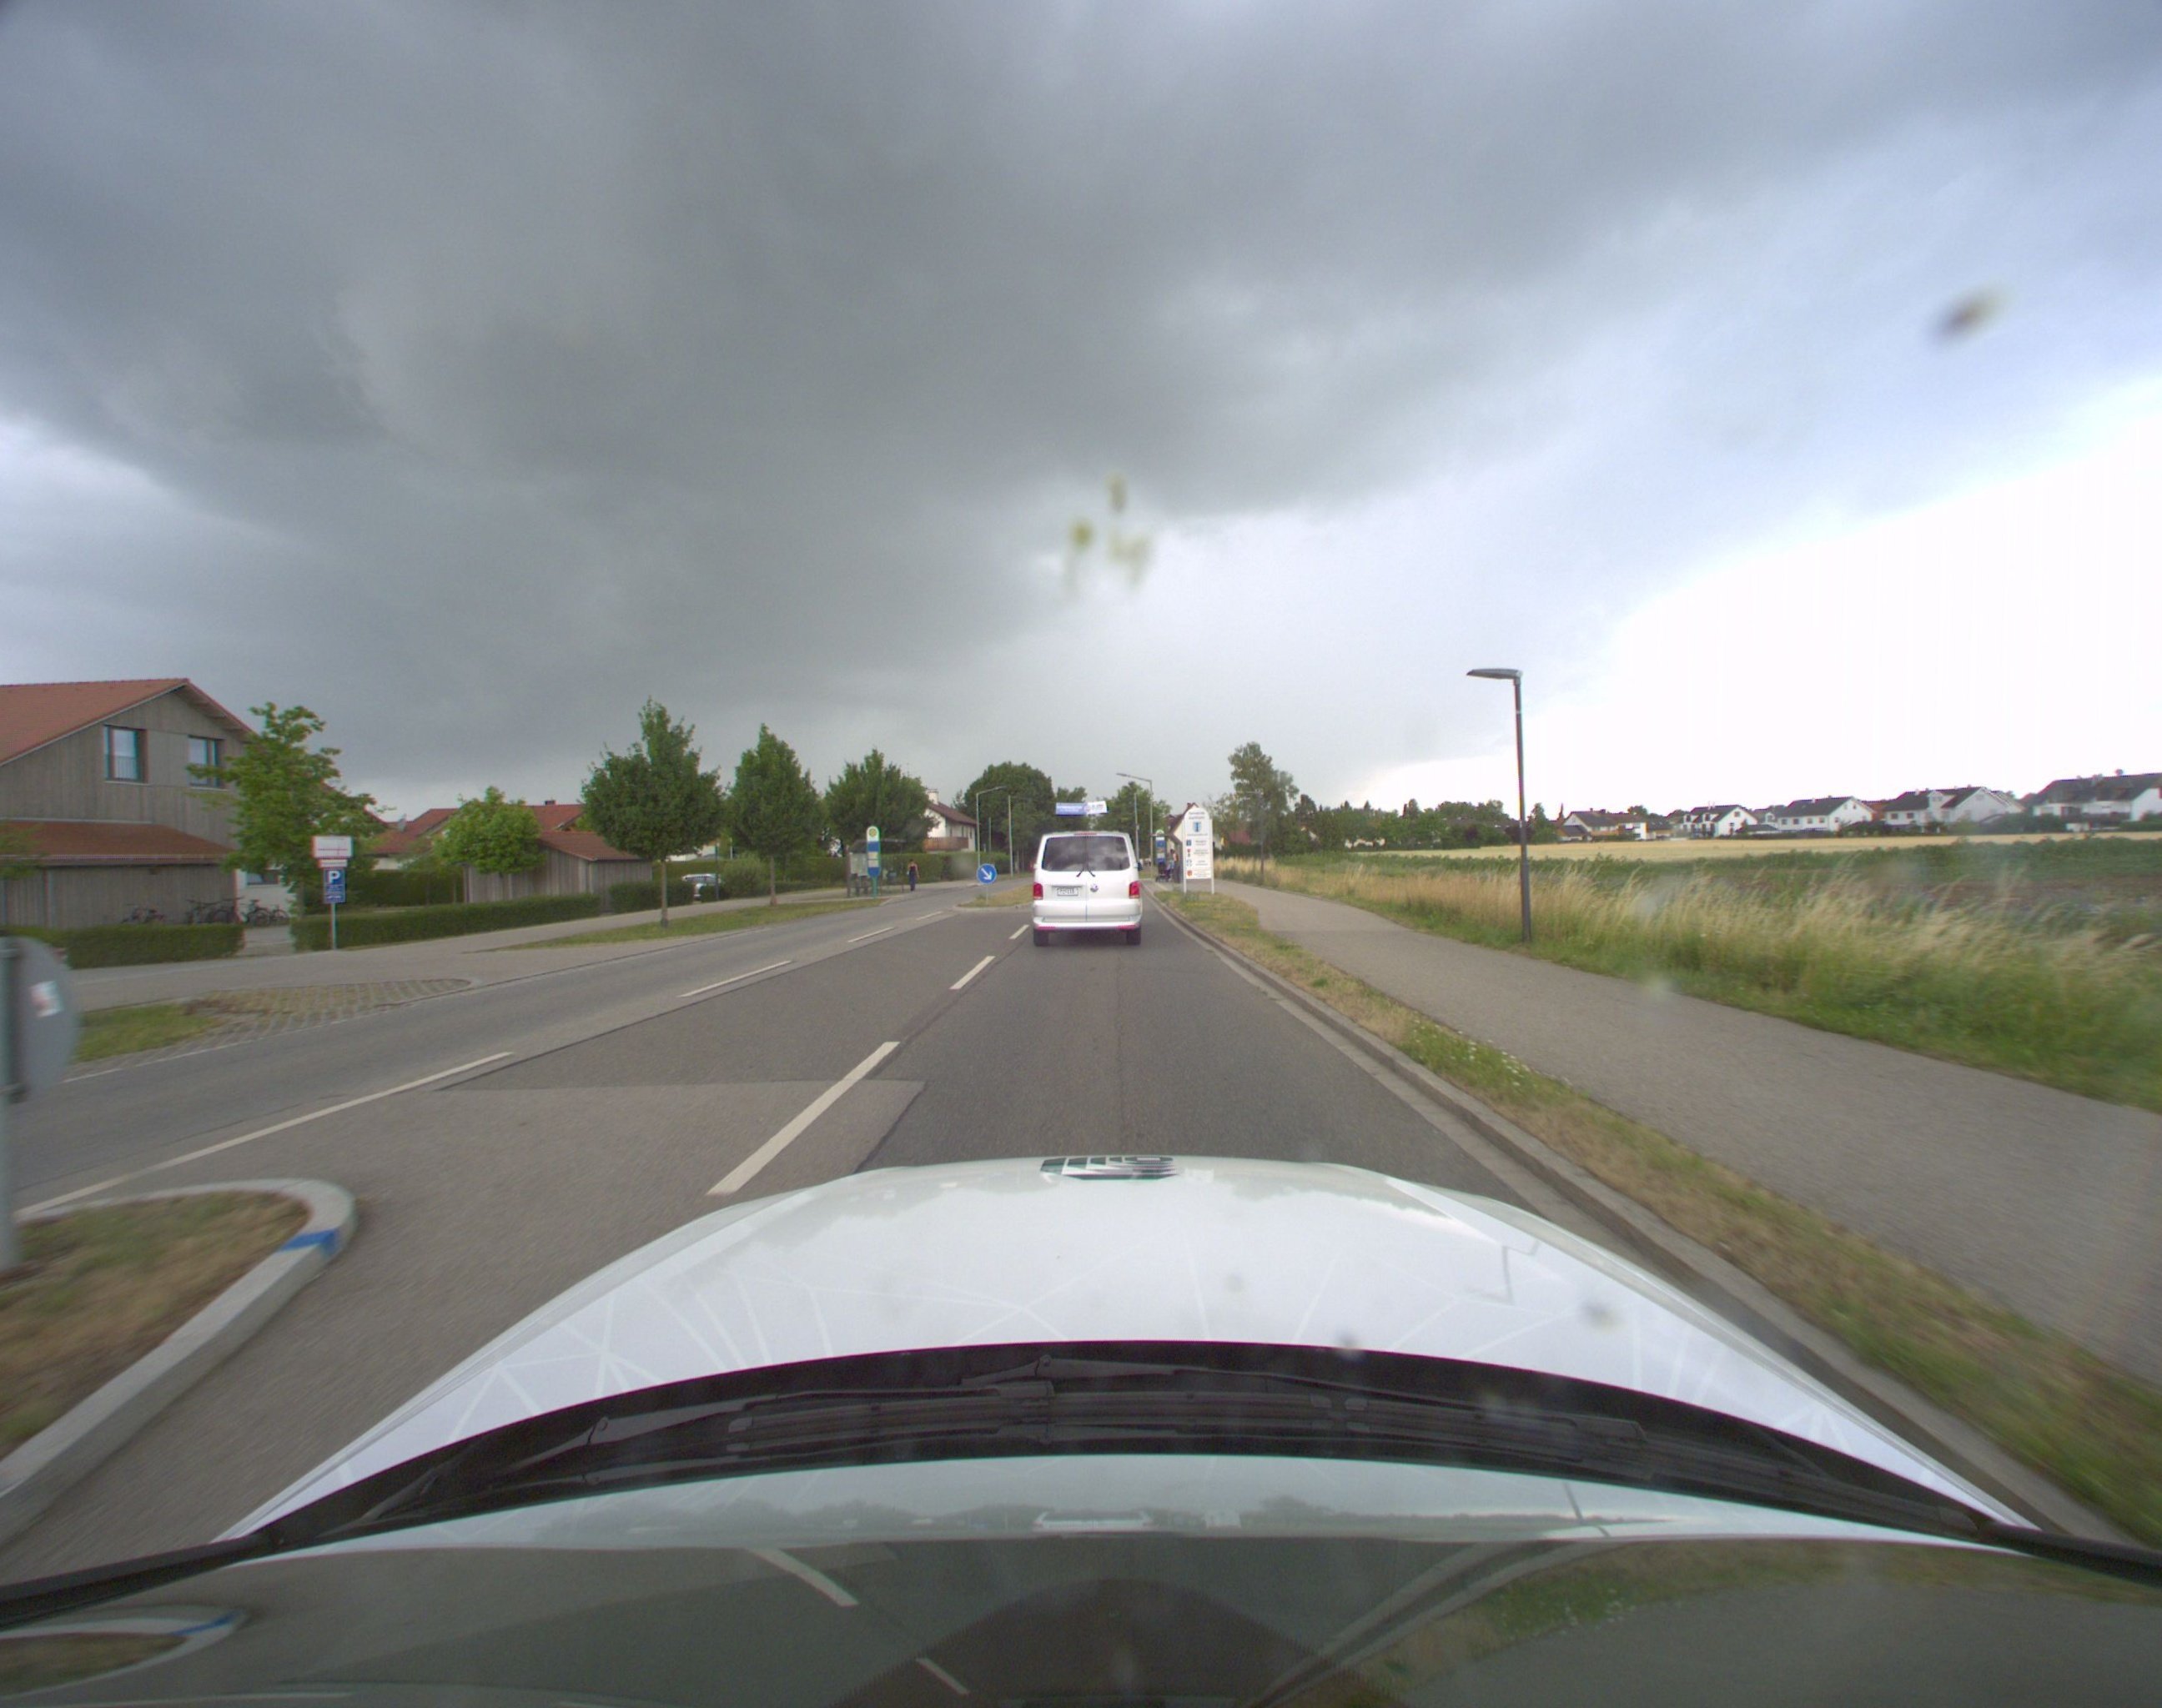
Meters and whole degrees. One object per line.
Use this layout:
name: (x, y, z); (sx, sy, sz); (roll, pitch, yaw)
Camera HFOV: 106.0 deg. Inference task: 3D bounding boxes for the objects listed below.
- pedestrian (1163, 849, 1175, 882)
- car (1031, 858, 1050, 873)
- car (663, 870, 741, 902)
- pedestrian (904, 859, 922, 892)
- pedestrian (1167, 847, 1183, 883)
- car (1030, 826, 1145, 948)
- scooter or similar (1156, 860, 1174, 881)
pedestrian: (4.655, 0.595, 43.316); (0.483, 1.732, 0.642); (-4, 0, 1)
car: (-4.241, 1.196, 85.086); (1.647, 1.429, 3.604); (-4, 0, 2)
car: (-21.704, 1.826, 46.727); (3.581, 1.529, 1.658); (-4, 0, -2)
pedestrian: (-8.161, 1.045, 39.644); (0.621, 1.525, 0.680); (-4, 0, 1)
pedestrian: (4.633, 0.532, 40.157); (0.636, 1.732, 0.488); (-4, 0, 13)
car: (0.127, 0.523, 15.095); (1.819, 1.913, 4.000); (-1, 0, 0)
scooter or similar: (4.535, 0.890, 44.228); (0.845, 1.103, 1.095); (-4, 0, 2)
